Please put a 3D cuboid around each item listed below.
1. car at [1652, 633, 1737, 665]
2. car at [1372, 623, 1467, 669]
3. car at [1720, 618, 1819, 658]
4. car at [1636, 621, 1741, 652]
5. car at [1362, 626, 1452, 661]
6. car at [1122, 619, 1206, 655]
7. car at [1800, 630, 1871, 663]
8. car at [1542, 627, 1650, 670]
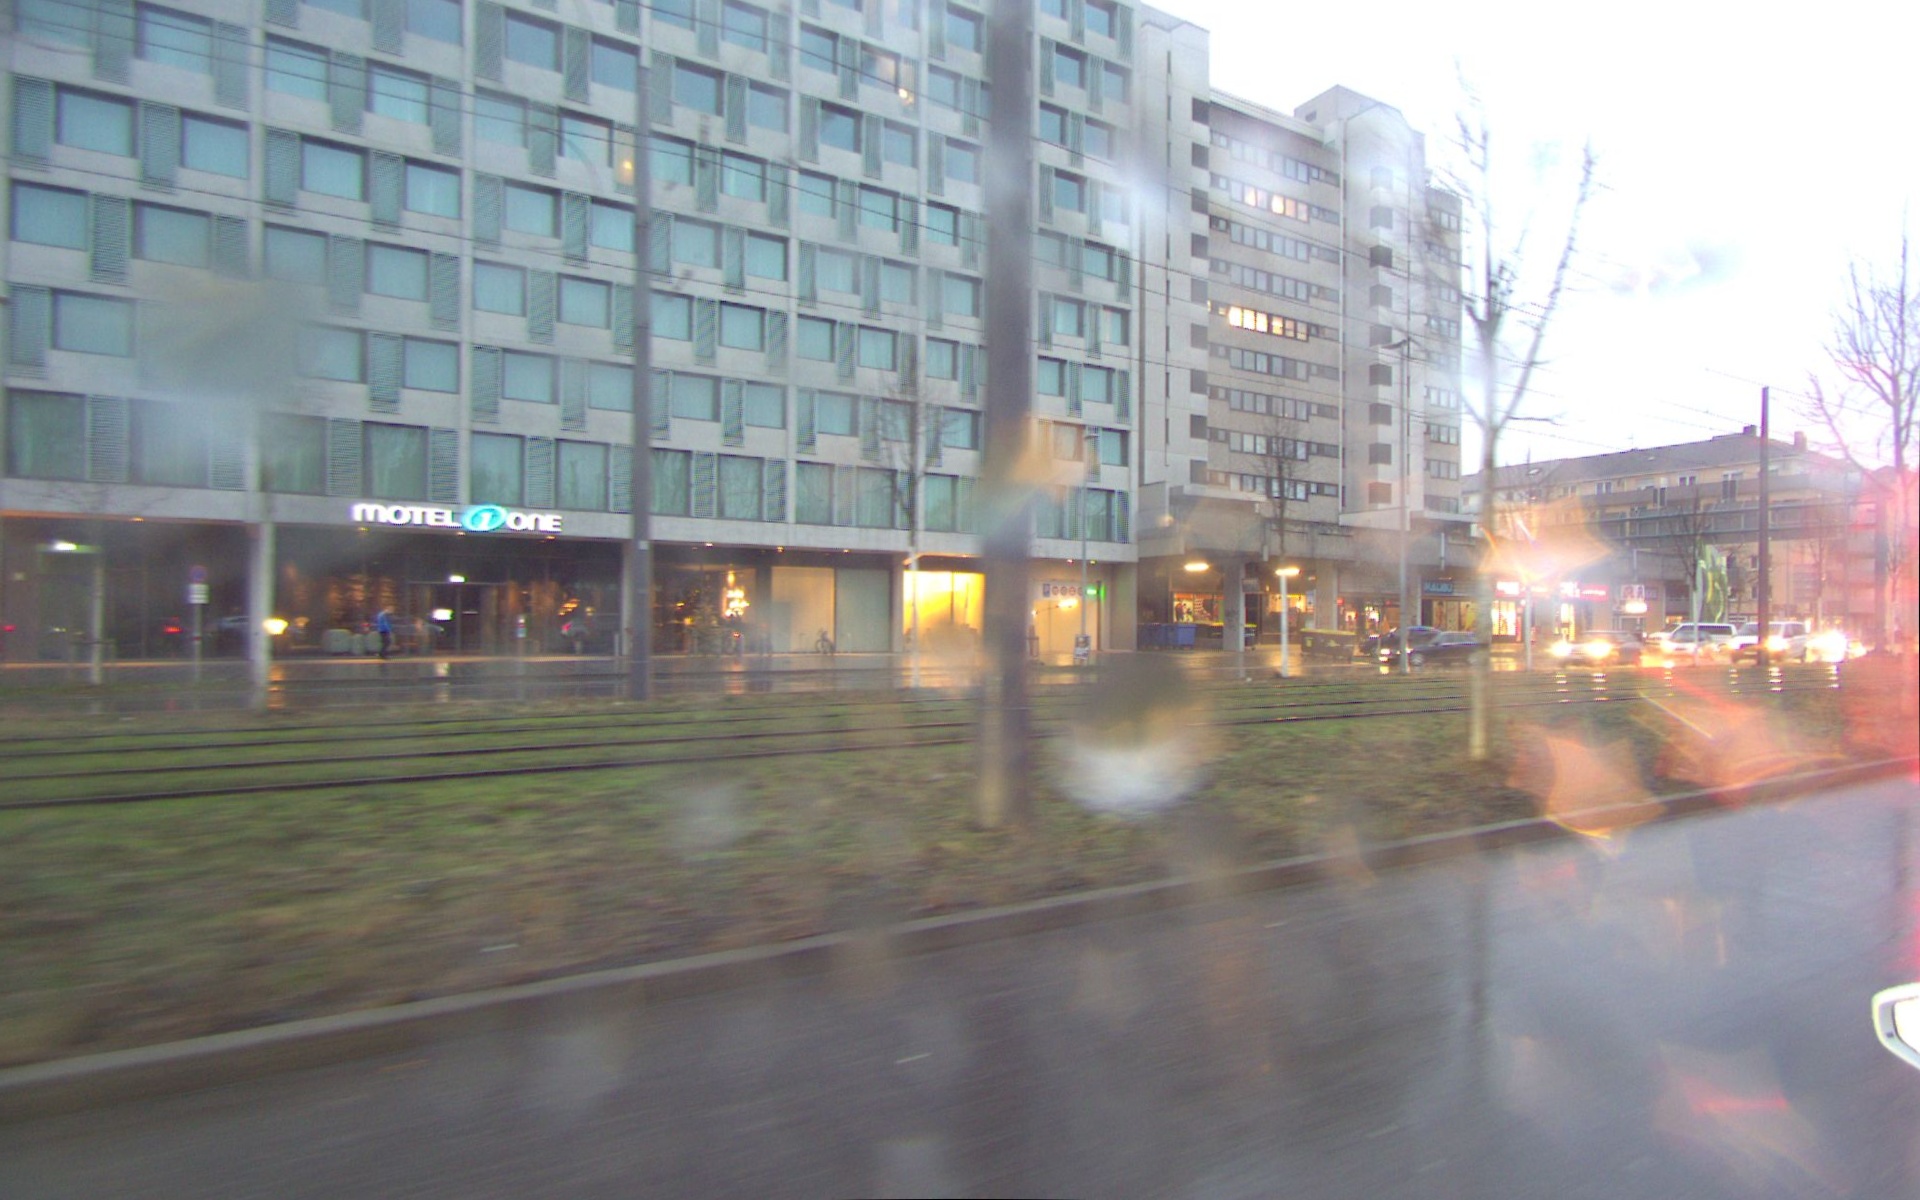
[{"bbox_3d":[38.209,2.517,52.227,4.736,1.536,1.887,1,-1,-30],"label":"car"},{"bbox_3d":[19.740,1.949,43.140,3.876,1.910,1.716,1,-1,-28],"label":"car"},{"bbox_3d":[37.018,1.722,45.913,5.058,1.742,1.887,1,-1,-31],"label":"car"},{"bbox_3d":[46.574,2.326,64.325,5.059,1.937,2.001,0,-1,15],"label":"car"},{"bbox_3d":[22.204,2.131,49.942,3.925,1.405,1.935,3,1,26],"label":"car"},{"bbox_3d":[10.401,1.874,51.520,1.709,1.718,4.336,1,-1,-32],"label":"car"},{"bbox_3d":[52.730,2.773,60.488,4.476,1.837,1.887,1,-1,-30],"label":"car"},{"bbox_3d":[23.064,1.725,36.421,3.664,1.450,1.886,1,-1,-31],"label":"car"}]
